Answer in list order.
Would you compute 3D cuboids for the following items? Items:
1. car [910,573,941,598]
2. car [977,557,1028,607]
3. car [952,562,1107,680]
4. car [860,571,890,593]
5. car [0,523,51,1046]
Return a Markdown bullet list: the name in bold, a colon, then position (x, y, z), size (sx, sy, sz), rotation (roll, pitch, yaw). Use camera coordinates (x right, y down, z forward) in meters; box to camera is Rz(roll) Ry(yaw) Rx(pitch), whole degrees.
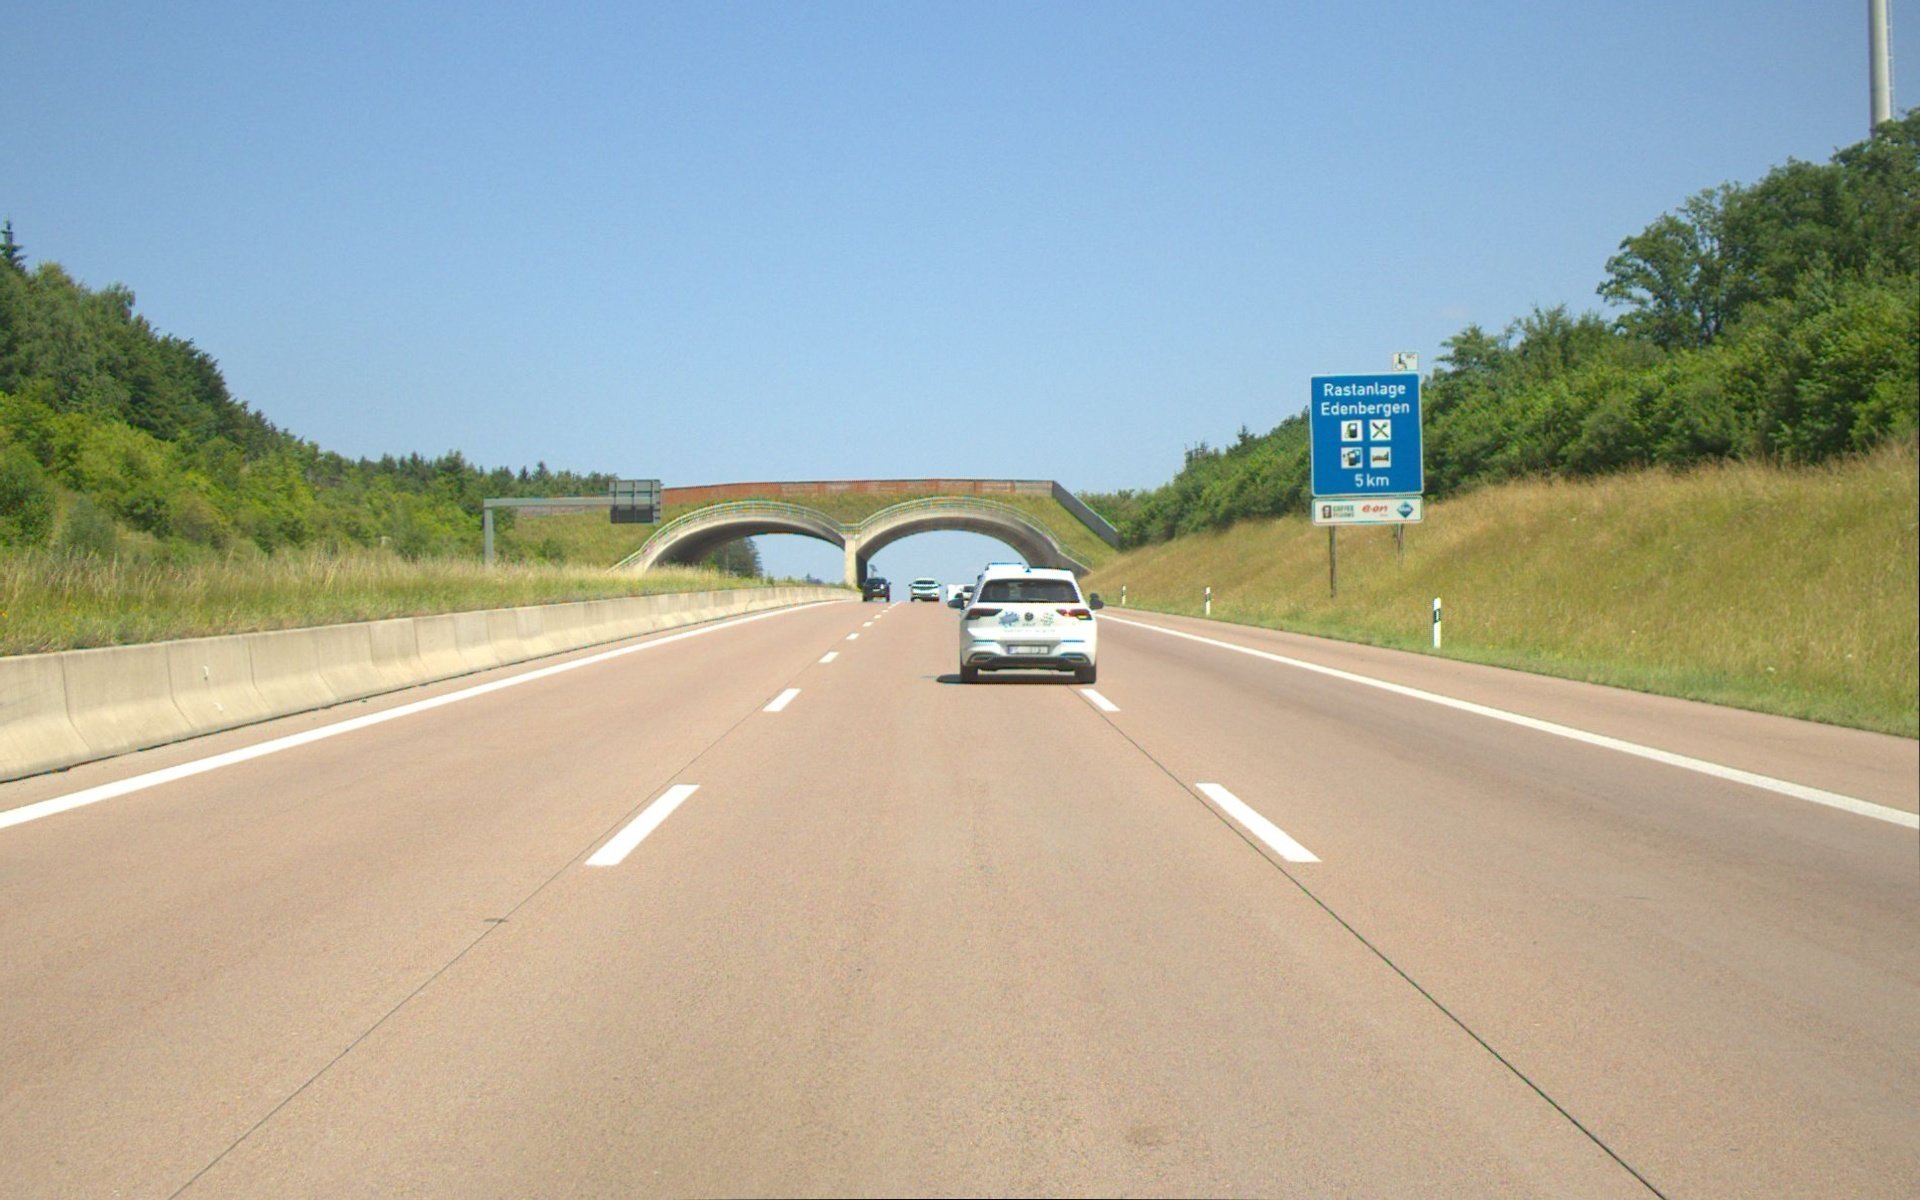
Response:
- **car**: position (-2.191, -0.906, 216.337), size (1.891, 1.458, 4.000), rotation (1, 1, 0)
- **car**: position (1.817, -0.787, 145.941), size (2.110, 2.047, 4.000), rotation (0, 1, 2)
- **car**: position (0.907, 0.236, 44.455), size (1.891, 1.393, 4.000), rotation (1, 1, 2)
- **car**: position (-6.032, -1.277, 244.610), size (1.891, 1.458, 4.000), rotation (0, 1, 2)
- **car**: position (-3.859, 0.585, 8.706), size (1.879, 1.602, 4.834), rotation (0, 1, -1)
